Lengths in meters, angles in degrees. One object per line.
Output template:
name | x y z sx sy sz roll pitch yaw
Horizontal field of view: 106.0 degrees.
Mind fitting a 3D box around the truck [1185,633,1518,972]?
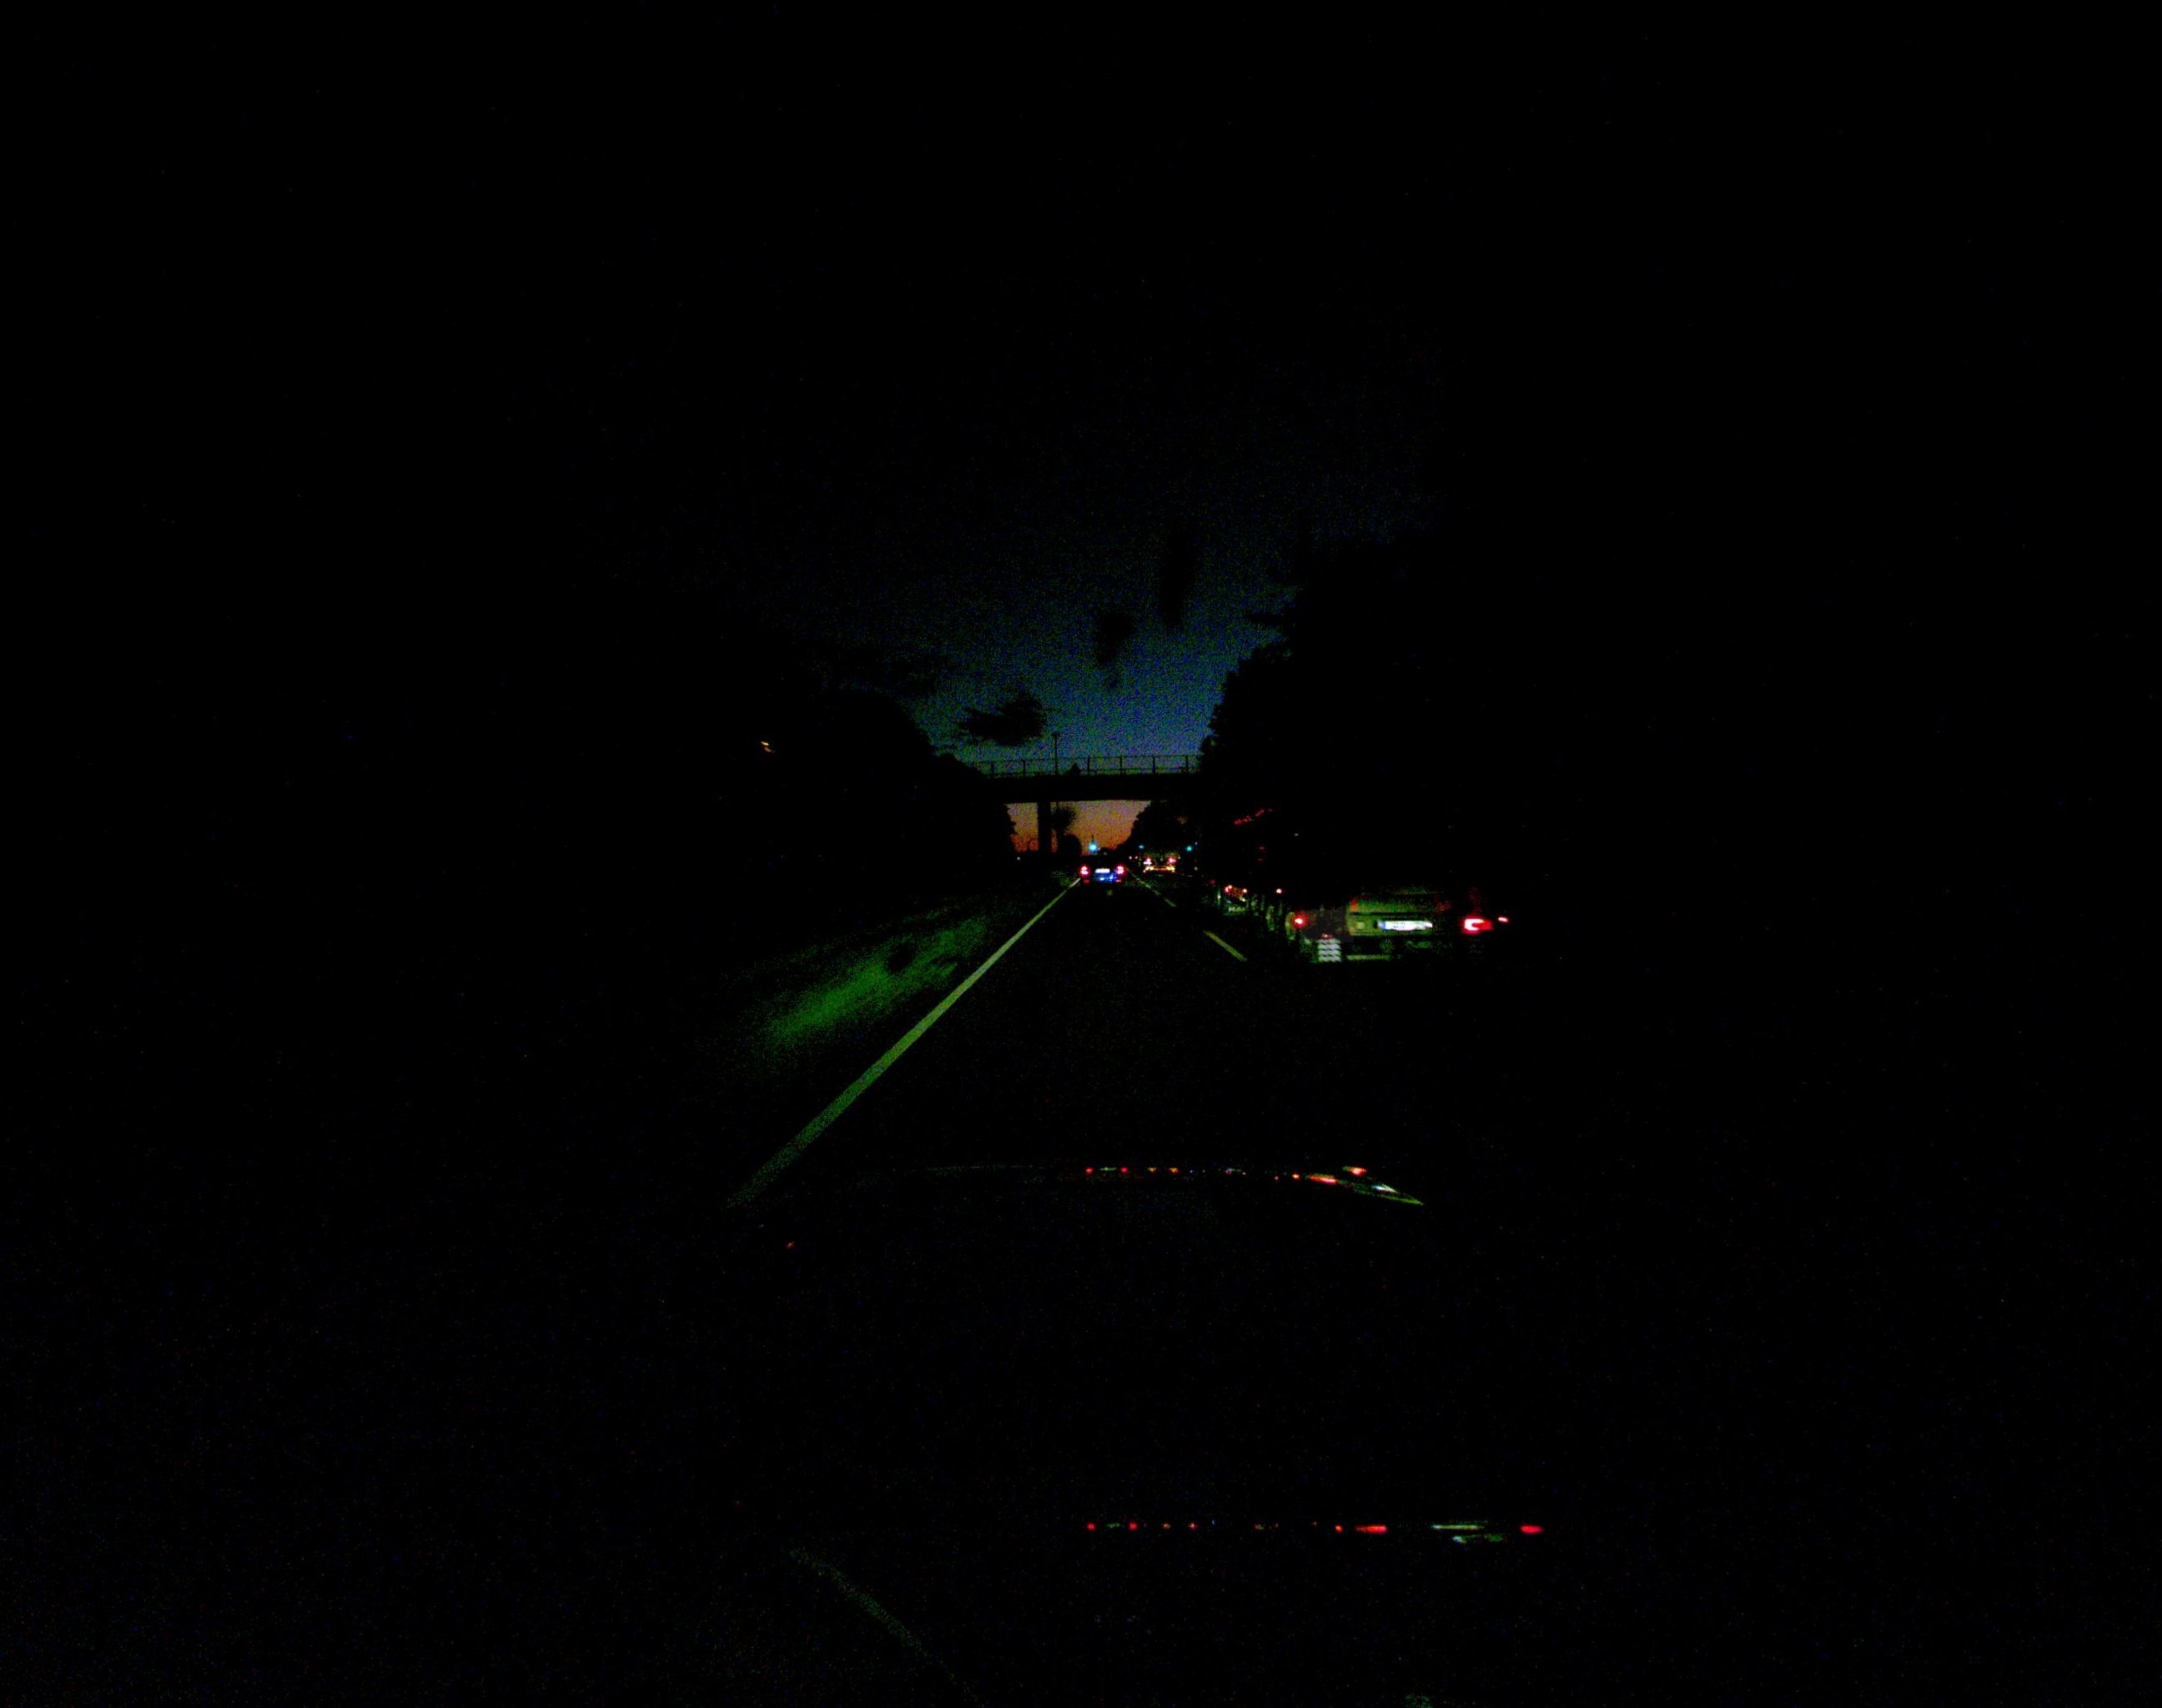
truck | 4.146 -0.600 16.526 2.677 4.106 13.145 -1 0 2

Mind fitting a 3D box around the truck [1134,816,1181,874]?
truck | 5.886 -0.597 64.500 2.872 4.106 12.687 -1 0 2

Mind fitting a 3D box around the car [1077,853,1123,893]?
car | 0.747 0.715 31.868 1.689 1.452 3.915 -1 0 1

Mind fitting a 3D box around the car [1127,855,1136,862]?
car | 10.451 0.988 169.637 1.689 1.452 3.915 -1 0 1
